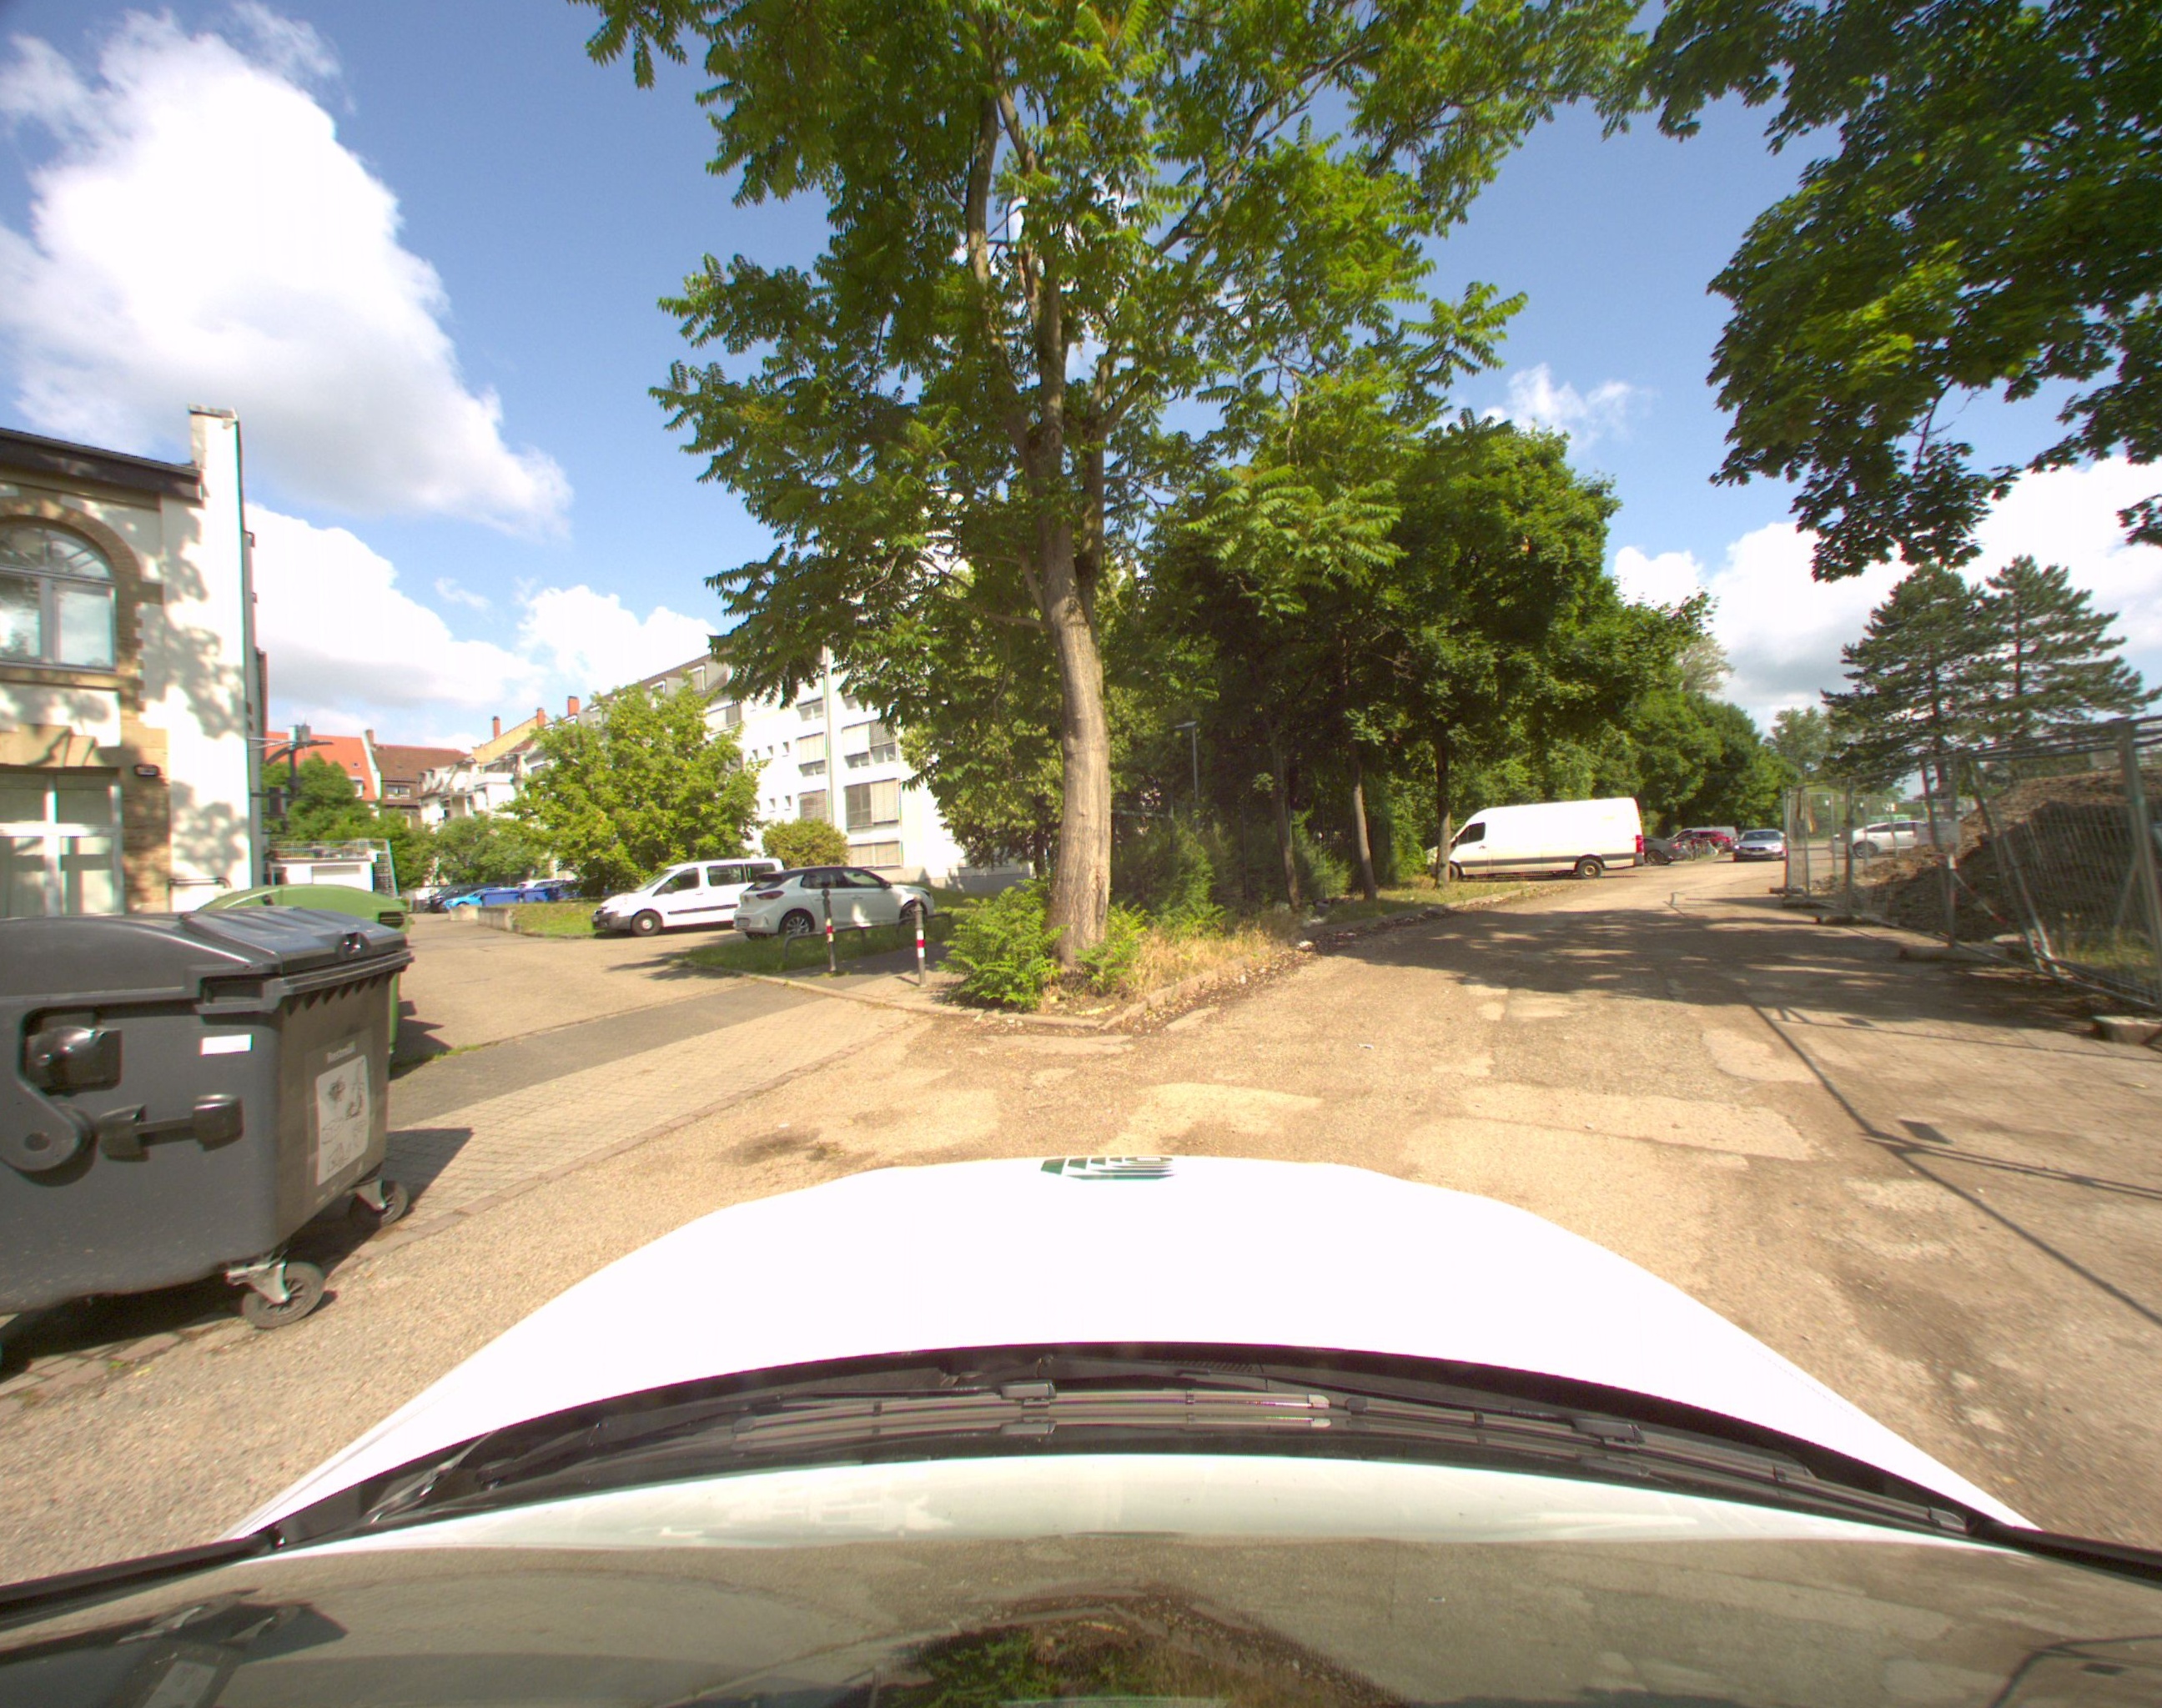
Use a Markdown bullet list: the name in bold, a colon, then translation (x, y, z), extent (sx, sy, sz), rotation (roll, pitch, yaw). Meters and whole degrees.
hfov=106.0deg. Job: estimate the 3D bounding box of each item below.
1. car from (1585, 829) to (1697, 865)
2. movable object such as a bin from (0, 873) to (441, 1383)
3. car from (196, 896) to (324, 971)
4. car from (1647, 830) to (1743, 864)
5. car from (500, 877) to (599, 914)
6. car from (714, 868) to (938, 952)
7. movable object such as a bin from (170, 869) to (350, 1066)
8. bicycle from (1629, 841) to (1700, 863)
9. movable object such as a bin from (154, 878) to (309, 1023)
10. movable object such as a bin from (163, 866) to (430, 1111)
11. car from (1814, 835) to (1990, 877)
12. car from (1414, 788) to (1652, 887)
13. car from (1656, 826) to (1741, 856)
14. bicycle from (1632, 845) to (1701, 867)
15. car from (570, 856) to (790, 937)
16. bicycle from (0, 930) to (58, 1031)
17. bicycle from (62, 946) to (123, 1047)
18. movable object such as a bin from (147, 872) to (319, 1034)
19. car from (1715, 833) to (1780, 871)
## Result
- **car**: translation (25.550, -0.347, 37.209), extent (3.950, 1.428, 1.855), rotation (3, -1, 42)
- **movable object such as a bin**: translation (-3.347, 0.818, 3.023), extent (1.252, 1.482, 1.285), rotation (0, -1, -26)
- **car**: translation (-19.371, 1.779, 19.261), extent (4.286, 1.442, 1.896), rotation (0, -3, 45)
- **car**: translation (40.610, -0.498, 53.935), extent (1.855, 2.014, 4.810), rotation (4, -1, -44)
- **car**: translation (-28.490, 2.191, 43.739), extent (1.925, 1.745, 4.025), rotation (3, 1, 39)
- **car**: translation (-5.016, 1.017, 16.374), extent (1.737, 1.420, 3.939), rotation (1, 1, 44)
- **movable object such as a bin**: translation (-7.064, 0.902, 7.004), extent (1.218, 1.452, 0.885), rotation (3, -1, 38)
- **bicycle**: translation (30.234, -0.117, 42.206), extent (2.851, 0.991, 1.023), rotation (3, -1, 44)
- **movable object such as a bin**: translation (-9.156, 0.979, 8.775), extent (1.364, 1.349, 0.952), rotation (3, -1, 38)
- **movable object such as a bin**: translation (-5.658, 0.860, 5.885), extent (1.326, 1.452, 1.110), rotation (3, -1, 37)
- **car**: translation (32.565, 0.040, 32.489), extent (1.855, 1.428, 4.810), rotation (4, -1, -44)
- **car**: translation (15.510, -0.654, 28.404), extent (6.888, 3.047, 2.012), rotation (4, 1, 29)
- **car**: translation (46.449, -1.015, 61.305), extent (1.855, 2.014, 4.810), rotation (4, -1, -44)
- **bicycle**: translation (30.964, 0.109, 43.111), extent (2.851, 0.991, 1.023), rotation (3, -1, 44)
- **car**: translation (-10.810, 1.099, 22.234), extent (4.983, 1.965, 1.975), rotation (2, -2, -44)
- **bicycle**: translation (-13.385, 1.559, 10.313), extent (1.836, 1.037, 0.322), rotation (2, -2, 43)
- **bicycle**: translation (-12.908, 1.813, 10.659), extent (1.836, 1.037, 0.322), rotation (2, -2, 43)
- **movable object such as a bin**: translation (-8.163, 0.891, 7.839), extent (1.218, 1.349, 0.952), rotation (3, -1, 38)
- **car**: translation (30.282, -0.075, 36.978), extent (4.022, 1.428, 1.822), rotation (4, -1, -44)
